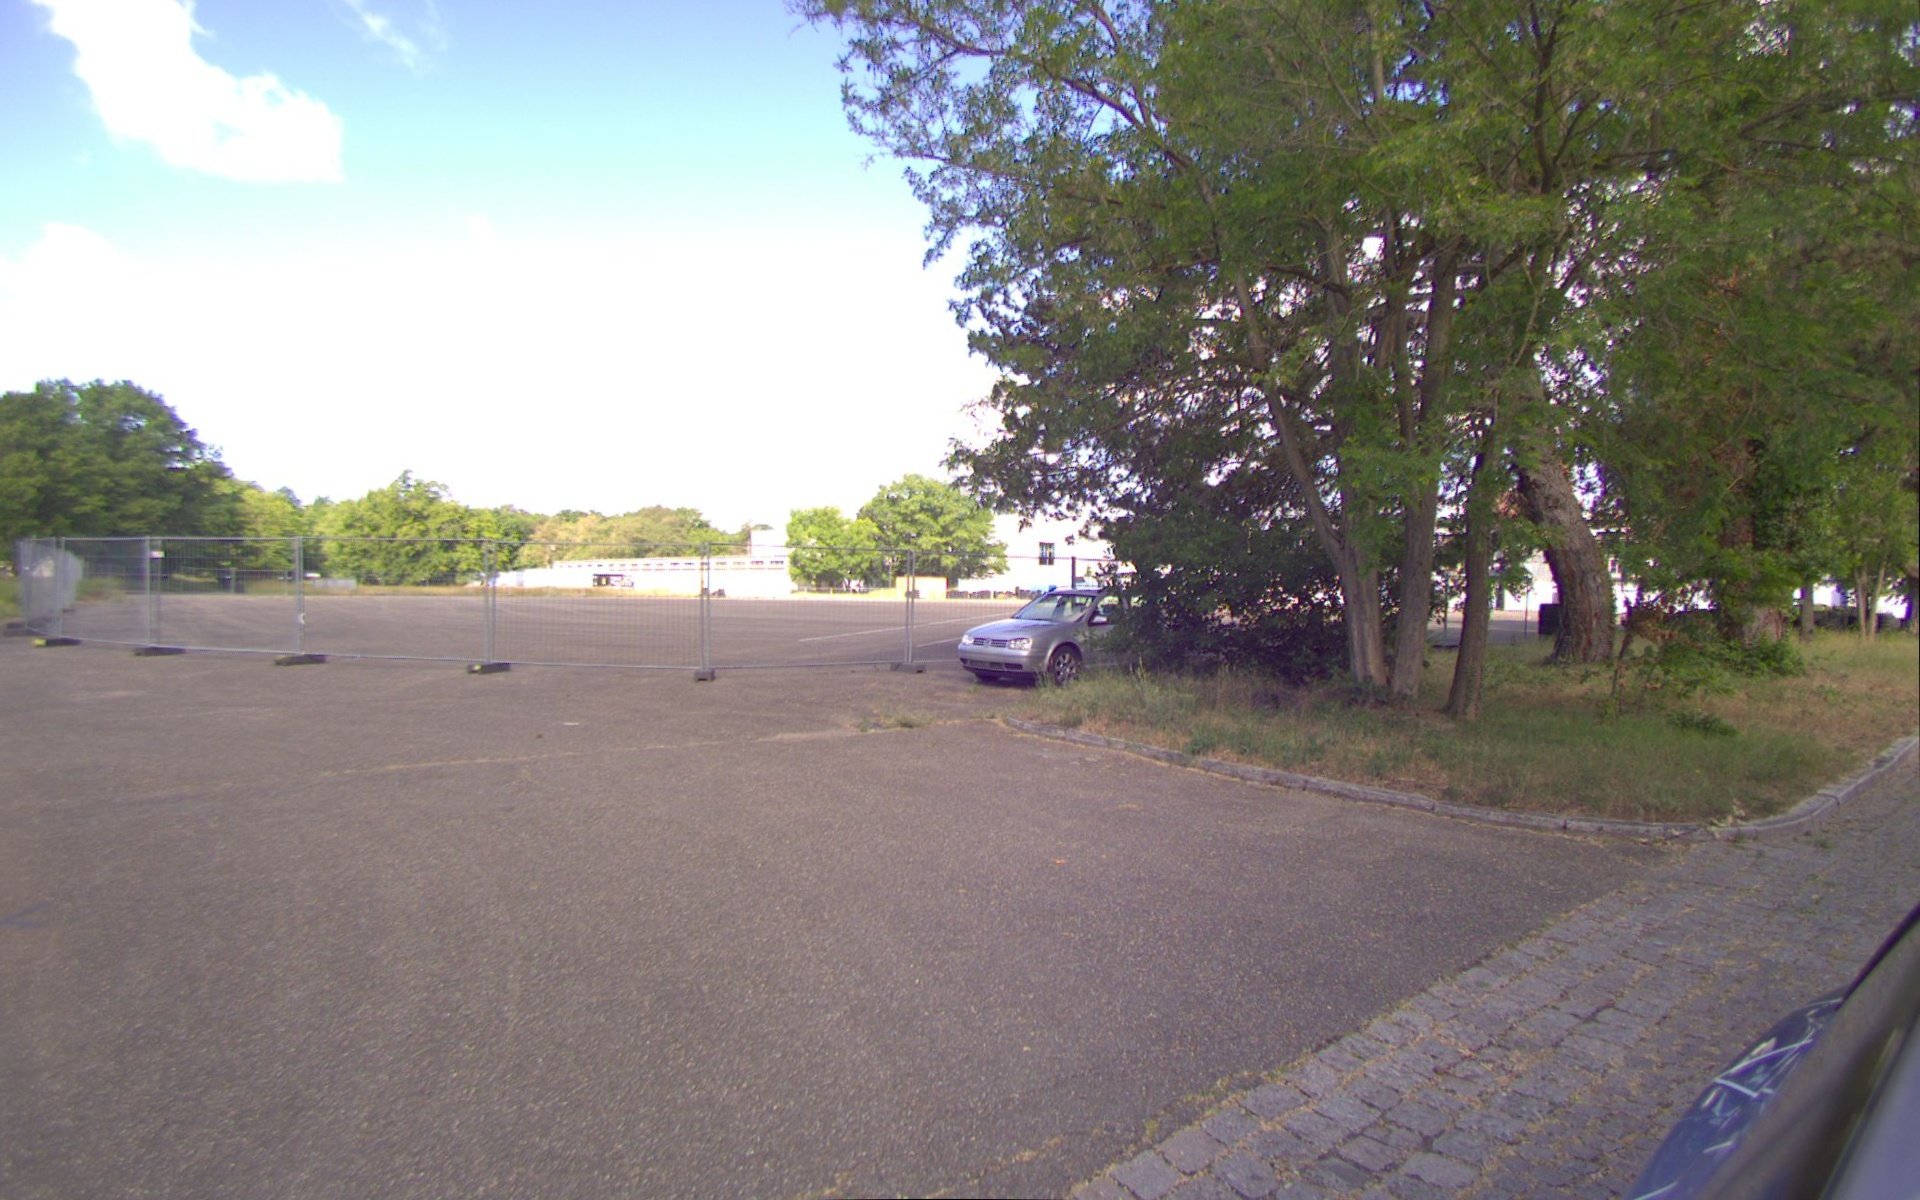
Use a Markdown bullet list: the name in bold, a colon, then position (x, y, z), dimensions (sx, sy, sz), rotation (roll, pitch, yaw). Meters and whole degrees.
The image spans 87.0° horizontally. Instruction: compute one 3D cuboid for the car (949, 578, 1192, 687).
- **car**: position (1.795, 0.431, 15.614), dimensions (3.920, 1.462, 1.576), rotation (0, 1, -44)
